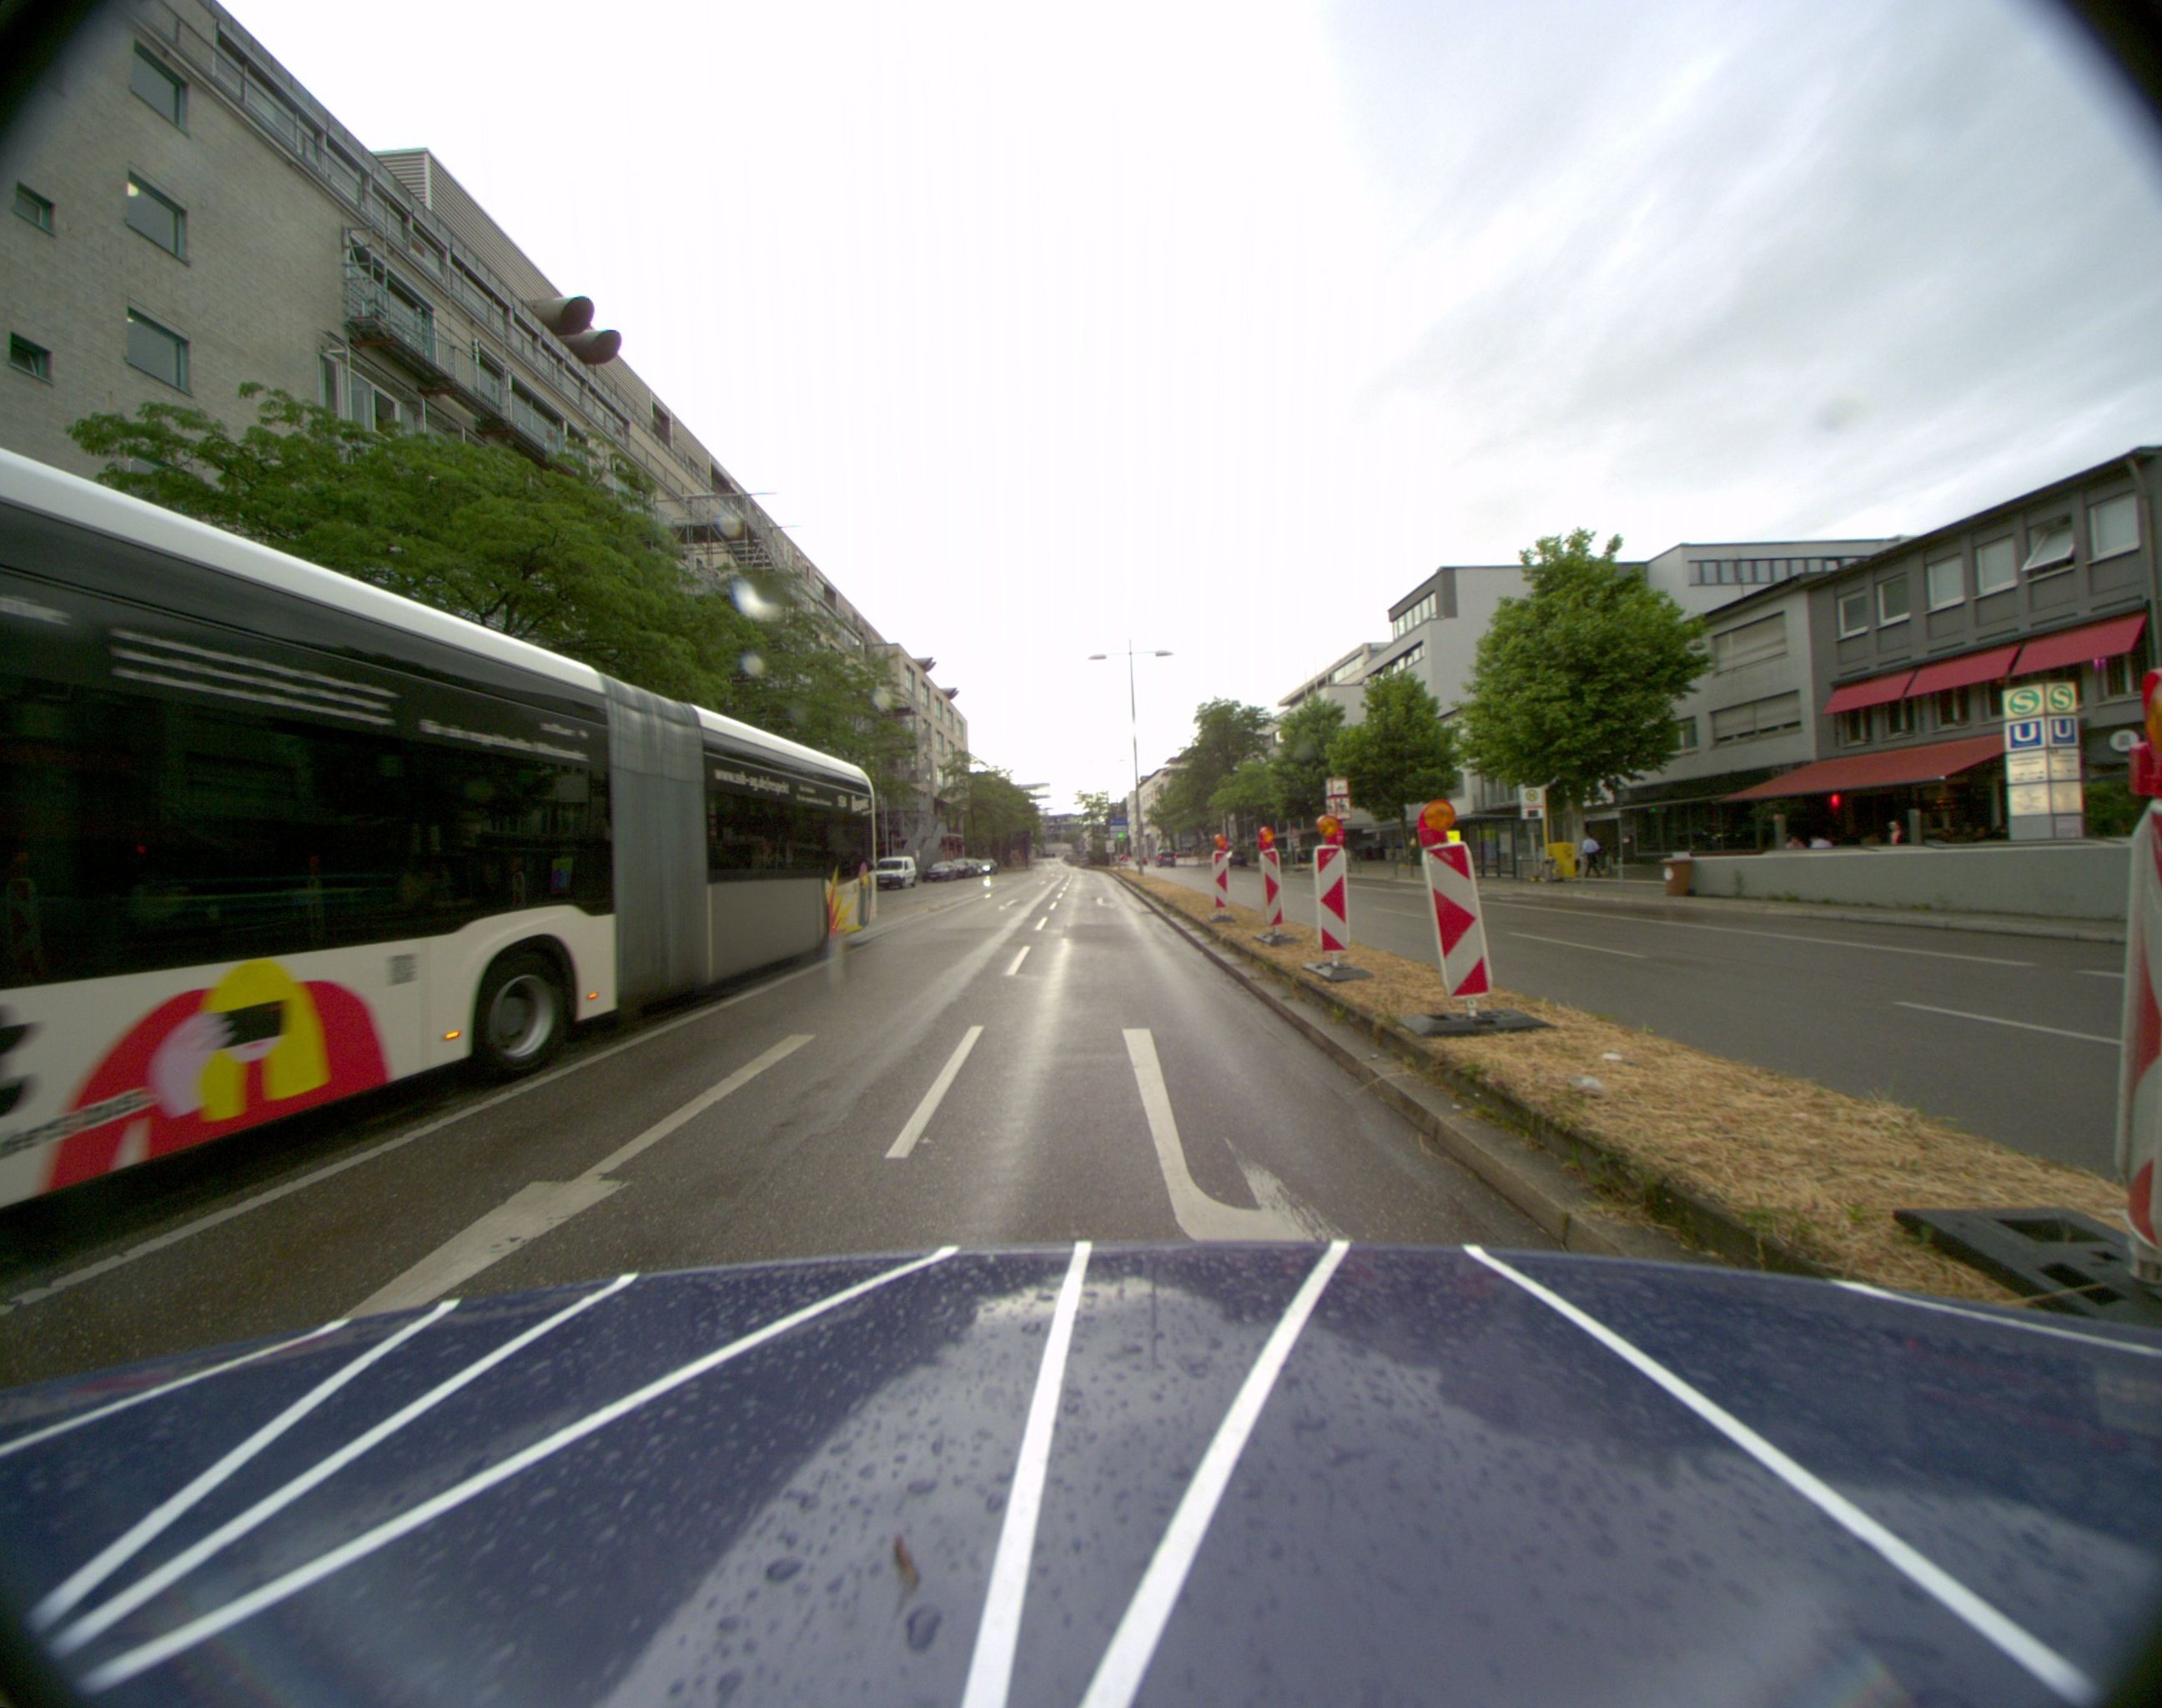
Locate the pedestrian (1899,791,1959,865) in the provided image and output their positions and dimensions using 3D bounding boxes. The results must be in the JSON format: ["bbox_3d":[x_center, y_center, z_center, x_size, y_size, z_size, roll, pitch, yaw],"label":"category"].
[{"bbox_3d":[21.532,-0.657,19.297,0.611,1.813,0.792,-2,1,-4],"label":"pedestrian"}]

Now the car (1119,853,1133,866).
[{"bbox_3d":[7.215,0.849,122.369,1.998,2.002,4.000,-2,1,1],"label":"car"}]

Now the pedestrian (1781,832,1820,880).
[{"bbox_3d":[23.338,0.071,24.648,0.669,1.520,0.611,-2,1,3],"label":"pedestrian"}]

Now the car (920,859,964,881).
[{"bbox_3d":[-9.890,1.100,54.438,2.147,1.329,4.816,-2,1,1],"label":"car"}]

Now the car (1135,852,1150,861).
[{"bbox_3d":[10.552,0.469,130.146,1.693,1.501,4.288,-2,0,-7],"label":"car"}]

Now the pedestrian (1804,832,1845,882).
[{"bbox_3d":[23.239,0.086,23.755,0.669,1.520,0.611,-2,1,3],"label":"pedestrian"}]

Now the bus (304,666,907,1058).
[{"bbox_3d":[-5.387,0.025,11.694,2.890,3.420,9.709,-2,1,1],"label":"bus"}]

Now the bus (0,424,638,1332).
[{"bbox_3d":[-5.540,0.131,1.886,2.890,3.430,9.756,-2,1,1],"label":"bus"}]

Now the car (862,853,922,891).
[{"bbox_3d":[-10.526,0.954,42.672,2.213,1.895,4.329,-2,1,0],"label":"car"}]

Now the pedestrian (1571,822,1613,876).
[{"bbox_3d":[19.355,-0.188,28.787,0.922,2.002,0.944,-2,1,0],"label":"pedestrian"}]

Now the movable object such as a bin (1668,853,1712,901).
[{"bbox_3d":[14.562,0.537,18.184,0.507,1.094,0.660,-2,1,-2],"label":"movable object such as a bin"}]

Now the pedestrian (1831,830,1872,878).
[{"bbox_3d":[24.993,0.010,24.657,0.669,1.520,0.611,-2,1,4],"label":"pedestrian"}]

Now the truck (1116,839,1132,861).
[{"bbox_3d":[7.102,-0.613,127.130,1.999,3.557,7.572,-2,0,-2],"label":"truck"}]

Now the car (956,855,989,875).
[{"bbox_3d":[-9.466,0.905,66.704,2.147,1.552,4.816,-2,1,1],"label":"car"}]

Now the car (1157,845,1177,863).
[{"bbox_3d":[9.934,0.020,87.713,1.998,1.916,4.964,0,2,3],"label":"car"}]

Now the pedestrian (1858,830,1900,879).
[{"bbox_3d":[24.992,0.018,23.807,0.669,1.520,0.611,-2,1,3],"label":"pedestrian"}]

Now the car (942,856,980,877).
[{"bbox_3d":[-9.626,0.948,61.235,2.147,1.486,4.816,-2,1,1],"label":"car"}]

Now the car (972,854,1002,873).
[{"bbox_3d":[-8.895,0.862,72.440,2.147,1.637,4.816,-2,1,1],"label":"car"}]
